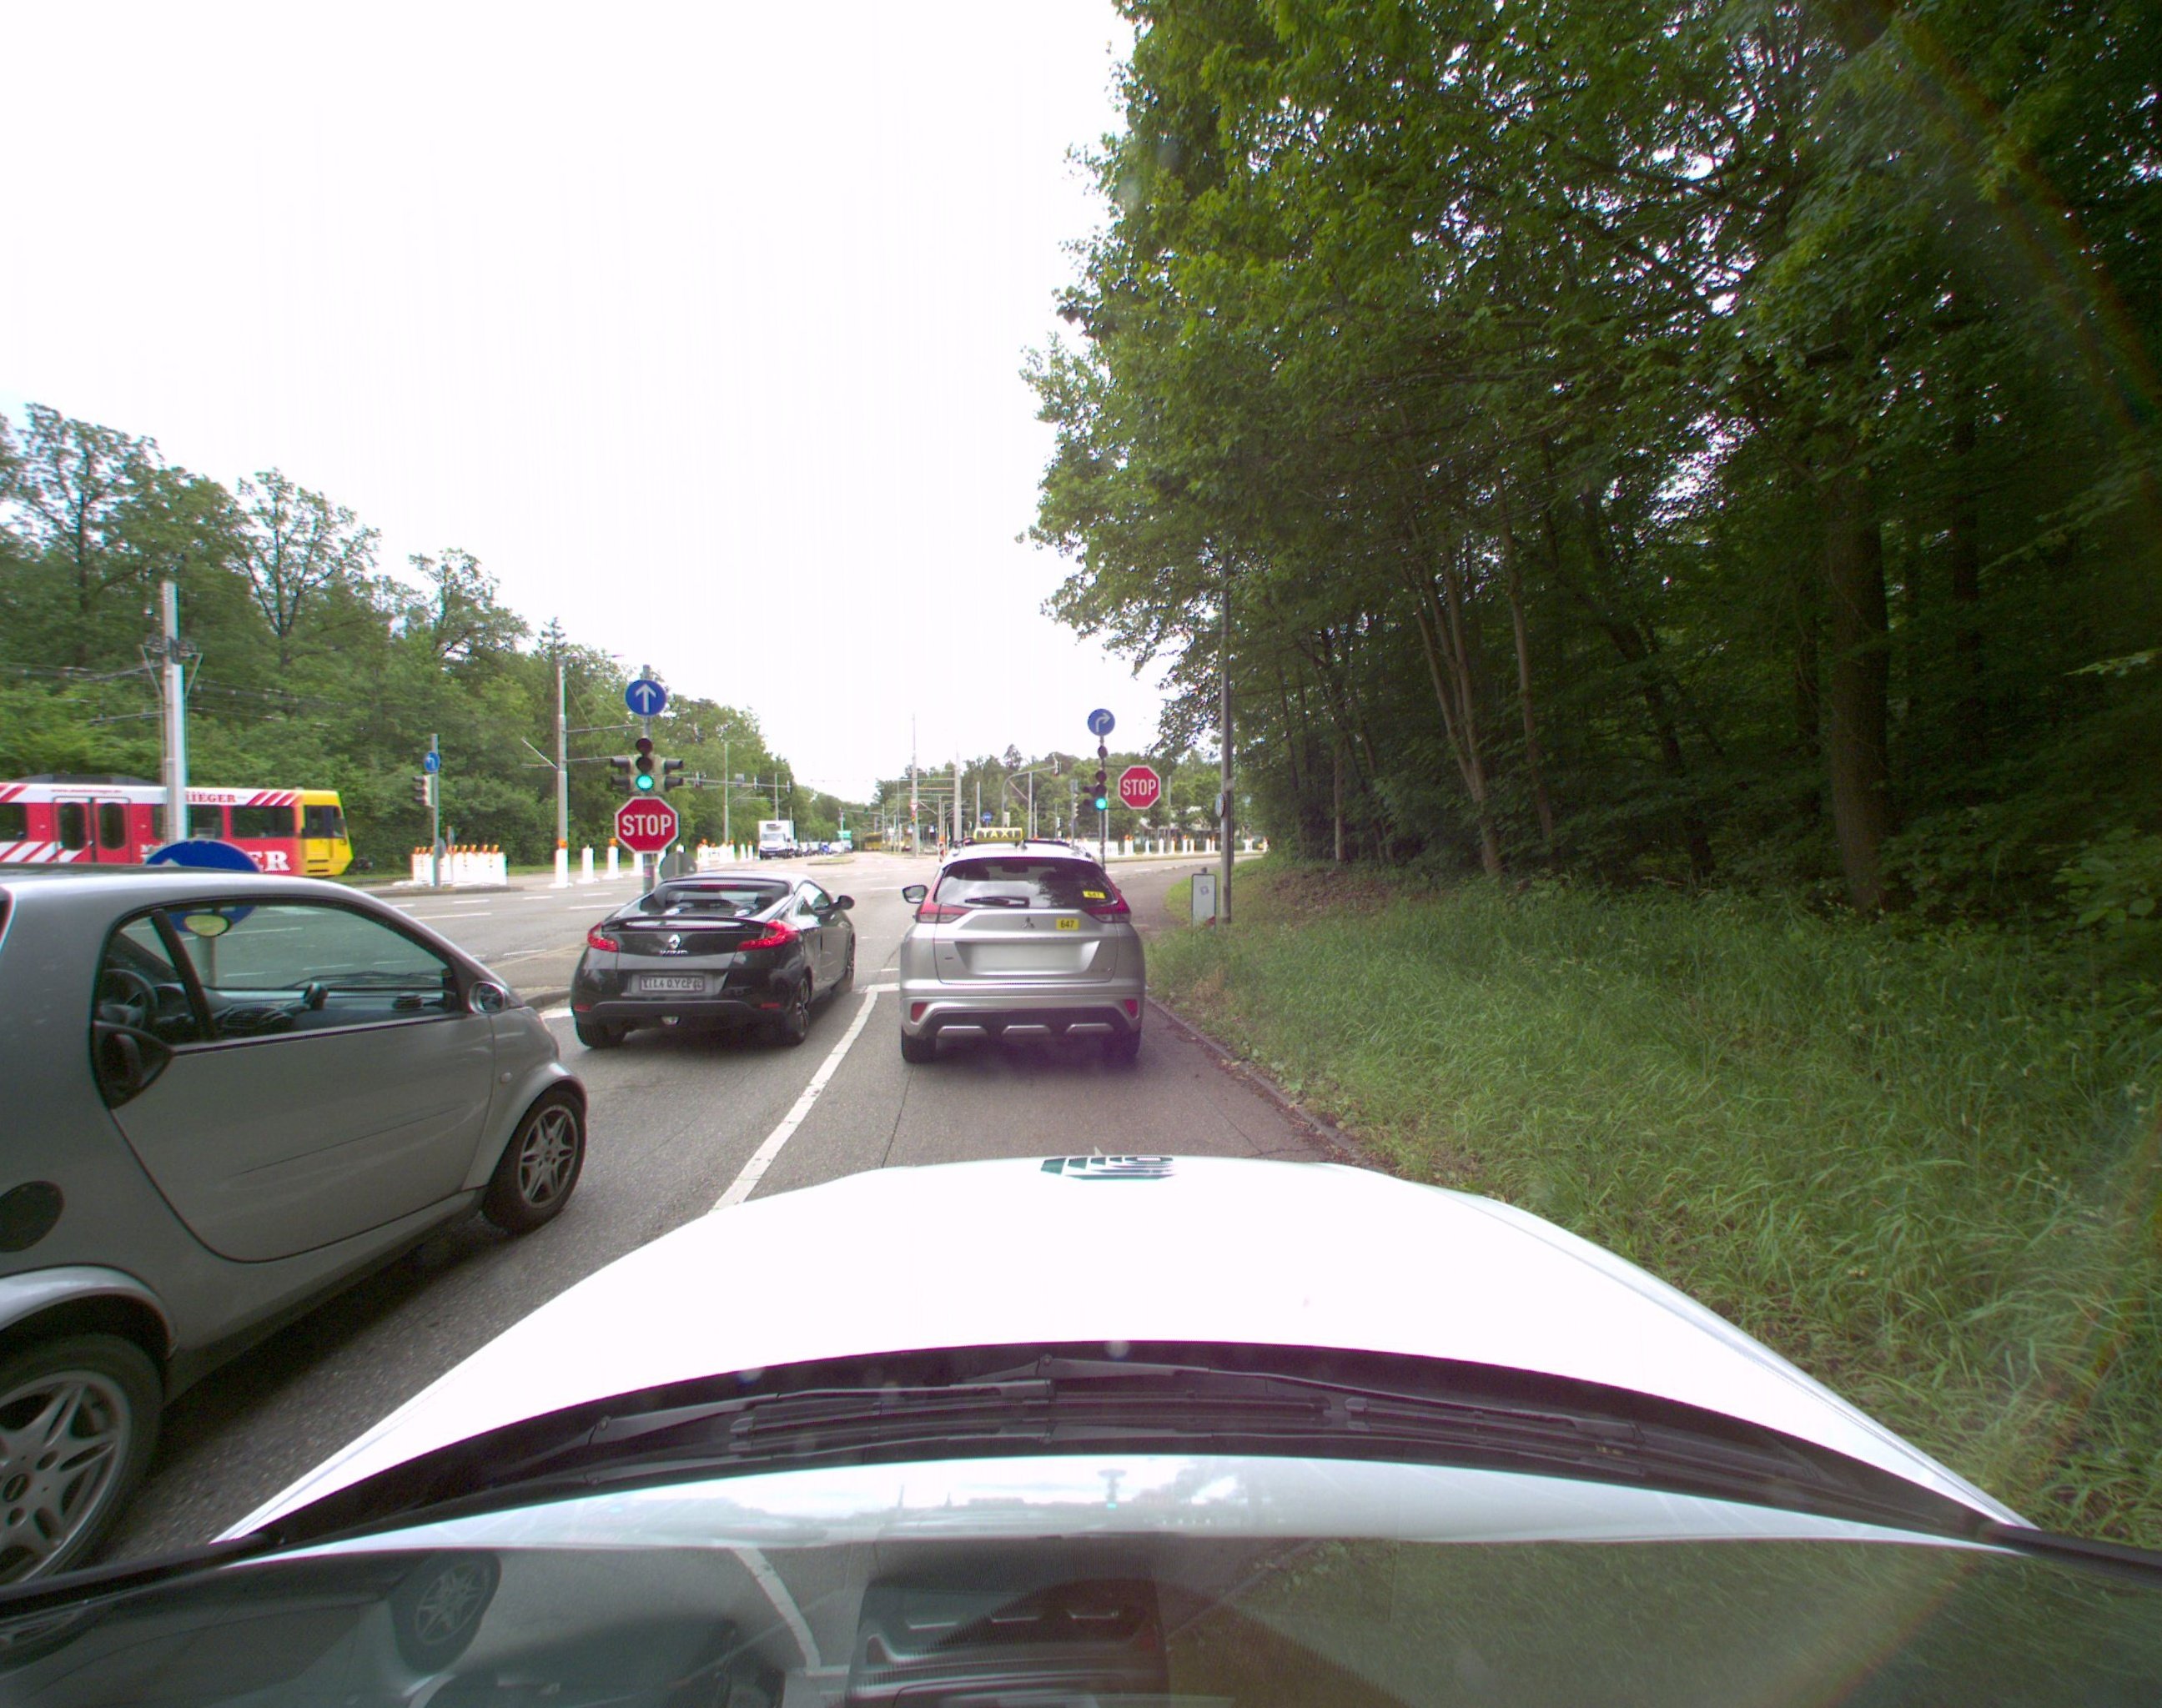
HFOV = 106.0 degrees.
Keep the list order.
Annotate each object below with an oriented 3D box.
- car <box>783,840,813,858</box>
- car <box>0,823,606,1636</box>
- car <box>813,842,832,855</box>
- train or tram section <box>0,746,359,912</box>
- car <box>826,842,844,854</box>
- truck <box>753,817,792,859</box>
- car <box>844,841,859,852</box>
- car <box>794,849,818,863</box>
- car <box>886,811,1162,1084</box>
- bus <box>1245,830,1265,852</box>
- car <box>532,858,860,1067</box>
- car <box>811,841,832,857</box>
[{"bbox_3d":[-27.885,-0.540,80.403,1.962,1.749,4.829,-1,1,-10],"label":"car"},{"bbox_3d":[-2.914,0.735,2.456,1.455,1.586,2.724,-1,1,-4],"label":"car"},{"bbox_3d":[-32.341,-0.701,101.969,1.964,1.607,4.291,-1,1,-13],"label":"car"},{"bbox_3d":[-32.345,-0.685,22.351,2.918,4.650,18.662,-1,-1,32],"label":"train or tram section"},{"bbox_3d":[-32.493,-0.850,107.671,1.964,1.541,4.376,-1,1,-13],"label":"car"},{"bbox_3d":[-25.318,-1.321,67.070,2.455,3.224,7.114,-2,1,-17],"label":"truck"},{"bbox_3d":[-34.205,-1.138,121.252,1.964,1.540,4.291,-1,1,-13],"label":"car"},{"bbox_3d":[-29.562,0.204,87.537,1.964,1.361,4.669,-1,1,-13],"label":"car"},{"bbox_3d":[-0.559,0.588,7.196,1.772,1.748,3.772,1,1,-6],"label":"car"},{"bbox_3d":[28.823,-2.196,135.467,2.804,3.602,12.841,0,1,10],"label":"bus"},{"bbox_3d":[-3.205,0.774,7.577,1.773,1.361,3.466,-1,1,-8],"label":"car"},{"bbox_3d":[-30.204,-0.635,95.028,1.964,1.844,4.669,-1,1,-13],"label":"car"}]
